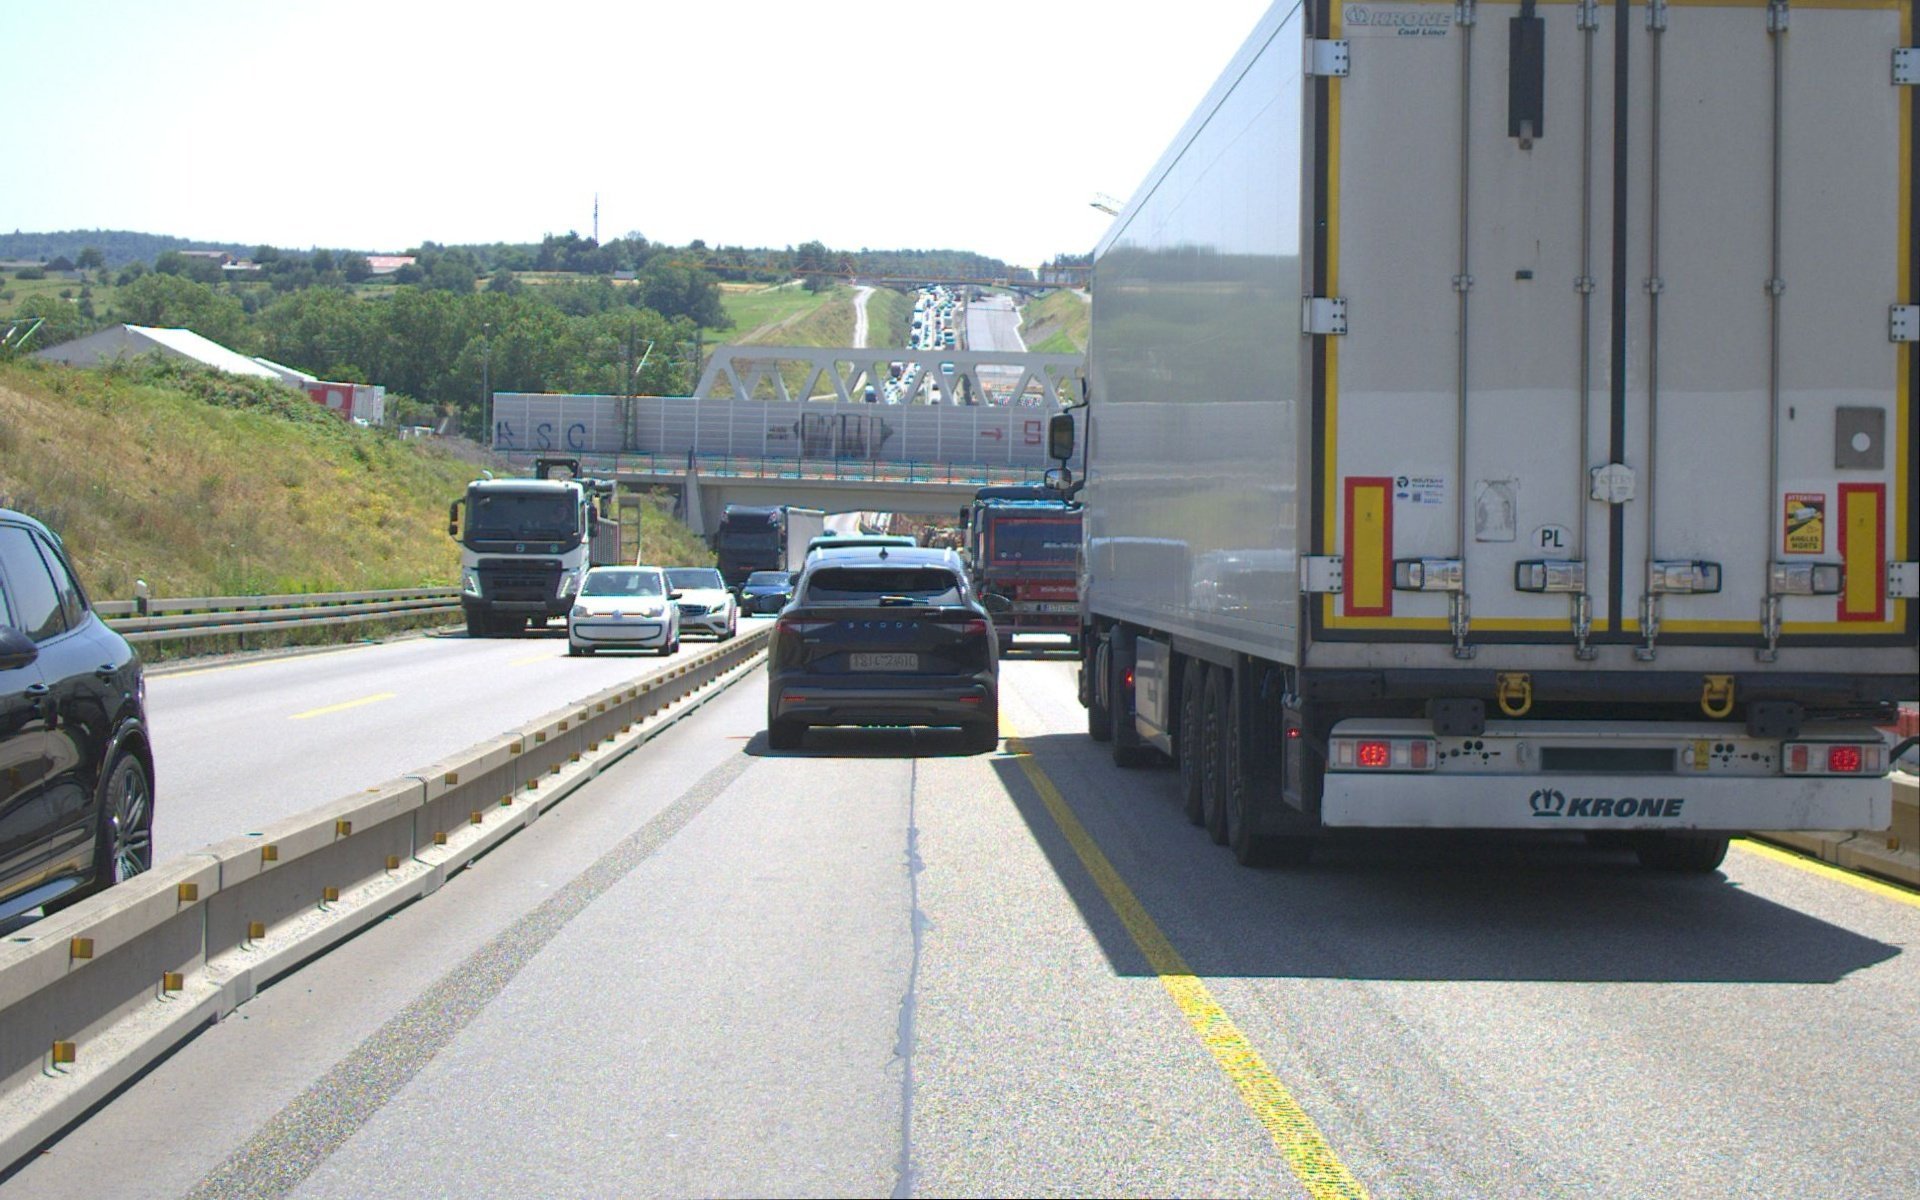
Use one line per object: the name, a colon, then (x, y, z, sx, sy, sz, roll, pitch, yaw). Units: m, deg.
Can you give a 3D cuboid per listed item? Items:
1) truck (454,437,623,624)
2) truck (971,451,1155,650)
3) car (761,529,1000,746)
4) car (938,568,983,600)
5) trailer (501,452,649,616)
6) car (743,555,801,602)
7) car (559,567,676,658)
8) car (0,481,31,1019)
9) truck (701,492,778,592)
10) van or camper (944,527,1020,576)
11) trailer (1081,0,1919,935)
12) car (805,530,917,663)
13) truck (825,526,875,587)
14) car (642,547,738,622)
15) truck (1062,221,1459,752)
truck: (-8.832, -1.446, 72.966, 2.587, 3.710, 9.333, 0, 1, -1)
truck: (1.651, -0.864, 61.001, 2.814, 3.124, 12.838, 0, 1, 0)
car: (-0.628, 0.253, 27.791, 1.800, 1.615, 3.298, 1, 1, -1)
car: (0.007, -0.637, 133.416, 1.538, 1.202, 3.311, 0, 1, -3)
trailer: (-8.971, -1.532, 80.988, 2.587, 3.624, 9.079, 0, 1, -1)
car: (-5.800, -0.675, 106.425, 1.684, 1.425, 3.850, 0, 1, -2)
car: (-5.562, 0.187, 56.151, 1.684, 1.425, 3.293, 0, 1, -2)
car: (-3.974, 0.502, 8.967, 1.891, 1.702, 4.561, 0, 1, 0)
truck: (-8.828, -2.314, 138.180, 2.767, 3.871, 4.964, 1, 1, -1)
van or camper: (1.550, -3.584, 252.431, 3.942, 3.408, 8.409, 1, 1, -11)
trailer: (2.534, -0.763, 20.788, 2.801, 4.044, 14.118, 0, 1, -1)
car: (-1.355, -0.069, 47.965, 1.475, 1.789, 3.298, 0, 1, 0)
truck: (-5.239, -2.087, 164.814, 2.268, 2.872, 5.851, 1, 1, -1)
car: (-5.267, -0.325, 67.346, 1.684, 1.425, 4.123, 0, 1, -2)
truck: (2.376, -0.891, 28.799, 2.776, 4.044, 4.905, 0, 0, -1)
